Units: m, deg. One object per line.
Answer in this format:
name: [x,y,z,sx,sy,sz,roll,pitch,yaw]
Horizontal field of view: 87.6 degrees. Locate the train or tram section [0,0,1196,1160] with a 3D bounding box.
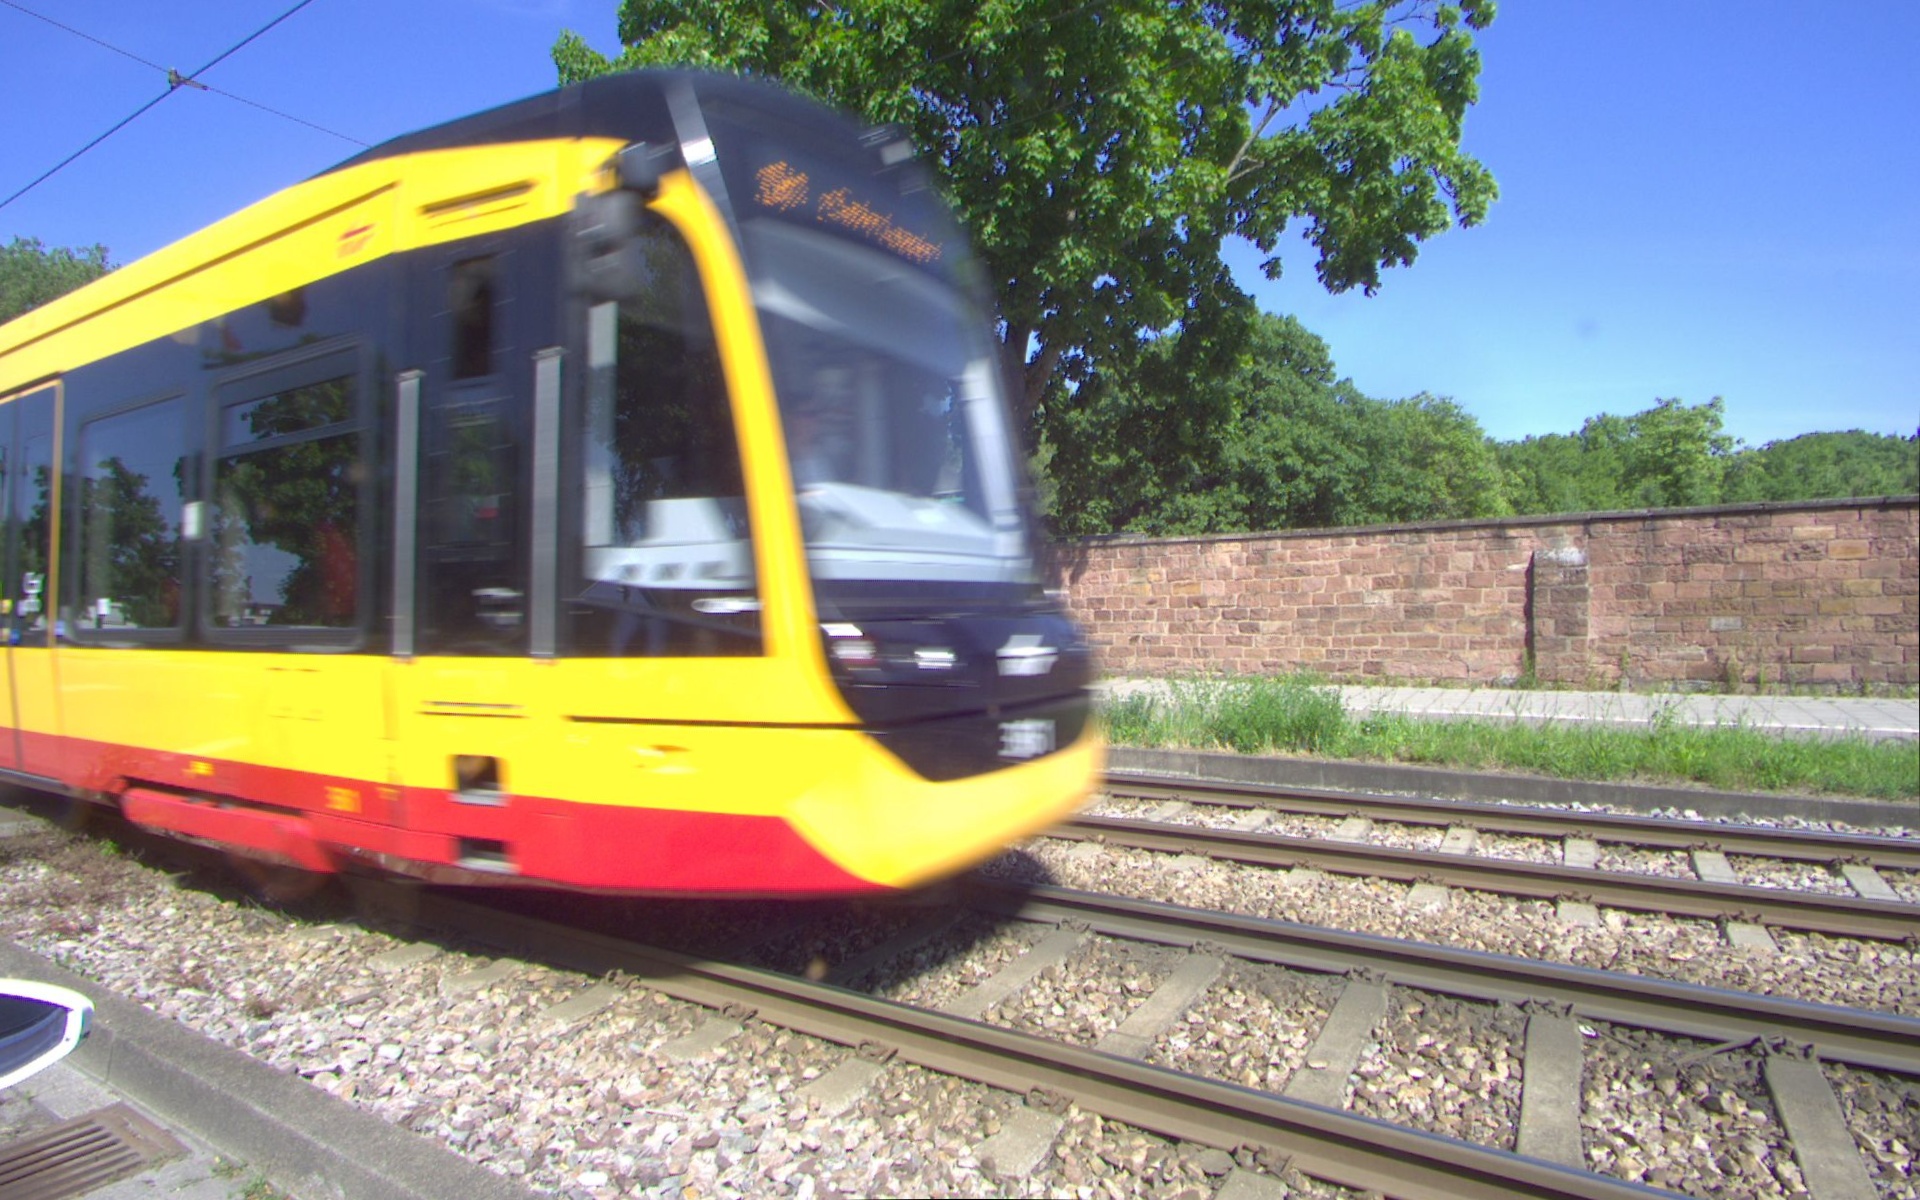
train or tram section: [-4.754,-0.409,7.034,12.210,3.907,2.865,-1,1,31]

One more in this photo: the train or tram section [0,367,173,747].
train or tram section: [-15.169,-0.366,13.338,12.203,3.907,2.867,-1,1,29]
